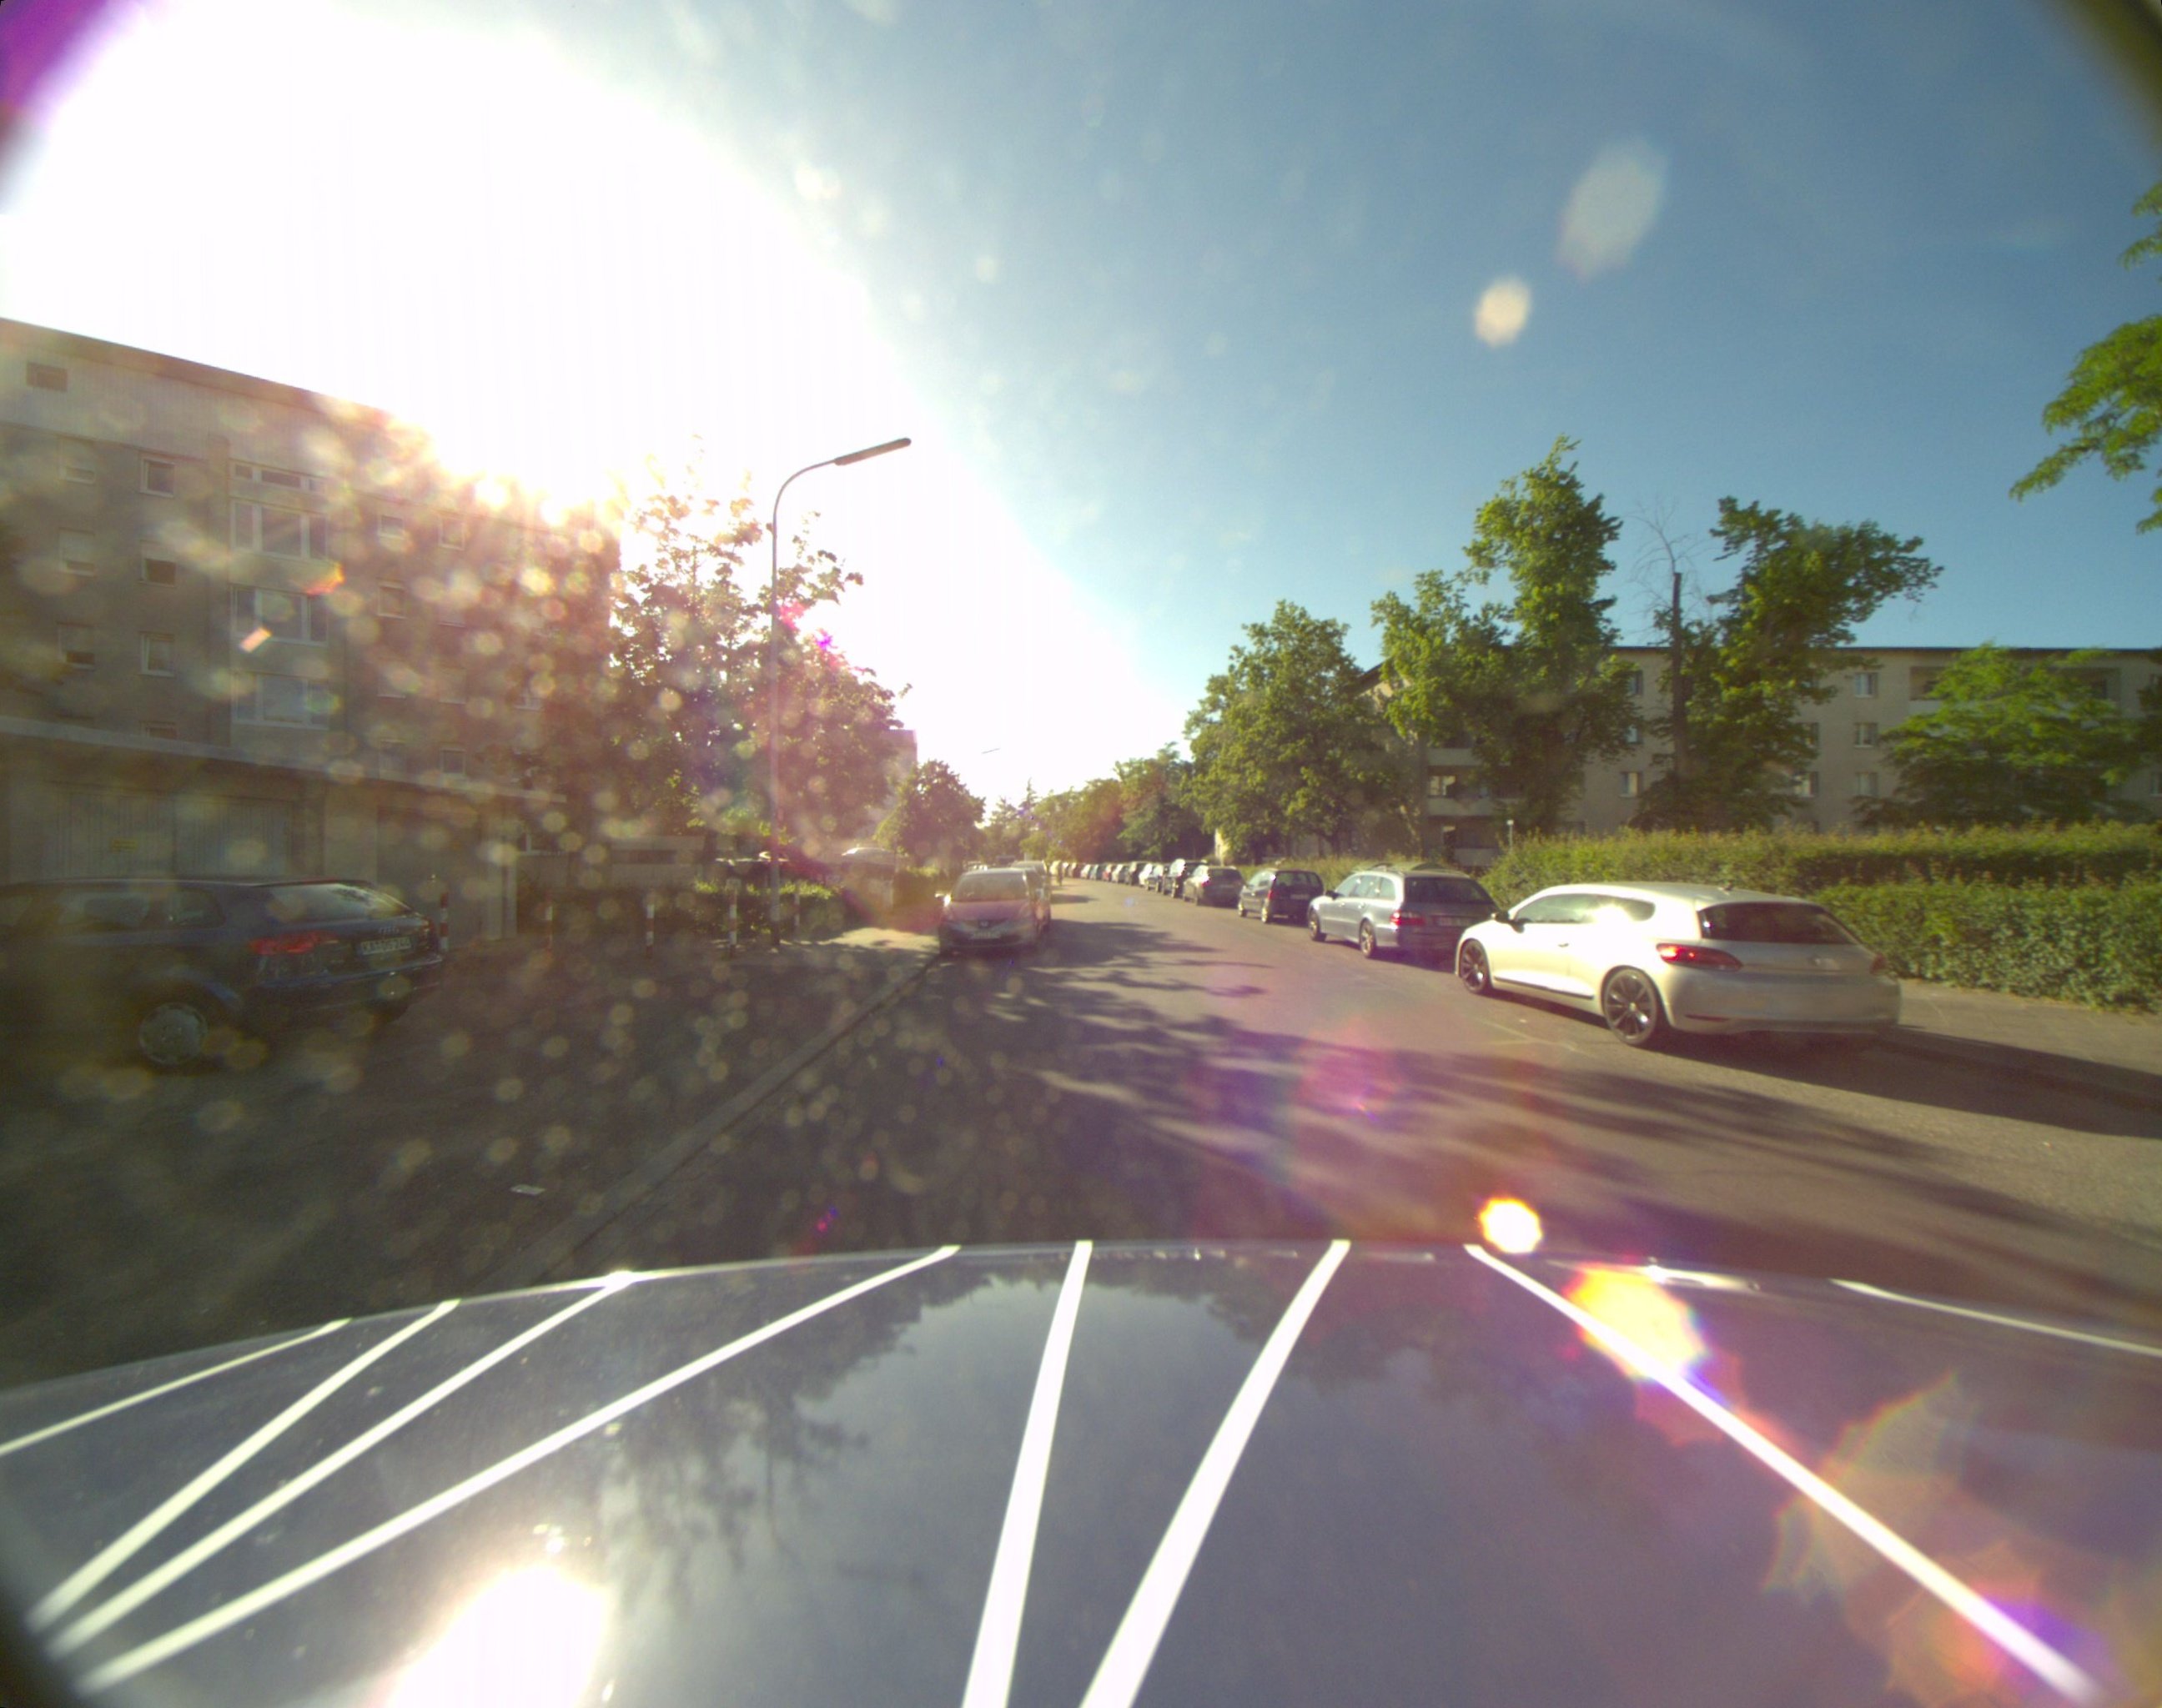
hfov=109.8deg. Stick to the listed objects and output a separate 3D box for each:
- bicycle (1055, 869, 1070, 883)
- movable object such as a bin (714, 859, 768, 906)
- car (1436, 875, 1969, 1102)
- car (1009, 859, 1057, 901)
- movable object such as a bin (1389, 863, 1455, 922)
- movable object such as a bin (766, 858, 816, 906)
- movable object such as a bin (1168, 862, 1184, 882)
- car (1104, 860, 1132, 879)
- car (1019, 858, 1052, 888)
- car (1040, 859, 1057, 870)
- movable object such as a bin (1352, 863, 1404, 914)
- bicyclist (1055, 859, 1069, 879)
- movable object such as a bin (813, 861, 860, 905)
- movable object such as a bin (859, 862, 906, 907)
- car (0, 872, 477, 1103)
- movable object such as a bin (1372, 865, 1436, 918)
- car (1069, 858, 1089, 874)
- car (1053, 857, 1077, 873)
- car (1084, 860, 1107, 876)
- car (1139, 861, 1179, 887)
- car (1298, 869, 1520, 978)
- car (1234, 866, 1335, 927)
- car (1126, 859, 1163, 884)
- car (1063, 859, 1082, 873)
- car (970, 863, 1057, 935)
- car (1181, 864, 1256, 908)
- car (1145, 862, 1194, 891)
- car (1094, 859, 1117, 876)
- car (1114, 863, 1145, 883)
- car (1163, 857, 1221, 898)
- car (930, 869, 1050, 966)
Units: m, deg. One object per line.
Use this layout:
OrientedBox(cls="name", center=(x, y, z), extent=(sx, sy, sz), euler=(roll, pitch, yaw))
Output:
OrientedBox(cls="bicycle", center=(-1.284, 1.496, 51.571), extent=(0.824, 0.896, 2.202), euler=(-1, 0, -6))
OrientedBox(cls="movable object such as a bin", center=(-11.067, 0.912, 24.789), extent=(1.326, 1.472, 1.029), euler=(-1, 0, -8))
OrientedBox(cls="car", center=(5.376, 1.009, 7.480), extent=(1.758, 1.416, 4.210), euler=(2, 0, 0))
OrientedBox(cls="car", center=(-1.953, 1.053, 32.132), extent=(1.759, 1.617, 4.495), euler=(-1, 0, -1))
OrientedBox(cls="movable object such as a bin", center=(8.827, 0.971, 19.735), extent=(1.004, 1.407, 1.326), euler=(-3, 0, -4))
OrientedBox(cls="movable object such as a bin", center=(-9.555, 0.900, 25.091), extent=(1.328, 1.528, 1.029), euler=(-1, 0, -8))
OrientedBox(cls="movable object such as a bin", center=(7.142, 1.333, 57.072), extent=(0.897, 1.407, 1.264), euler=(-3, 0, -6))
OrientedBox(cls="car", center=(3.058, 1.279, 63.439), extent=(1.636, 1.470, 3.877), euler=(1, 0, -7))
OrientedBox(cls="car", center=(-2.739, 1.068, 45.241), extent=(1.759, 1.664, 4.411), euler=(-1, 0, -5))
OrientedBox(cls="car", center=(-4.589, 1.459, 106.177), extent=(1.659, 1.558, 3.686), euler=(1, 0, -13))
OrientedBox(cls="movable object such as a bin", center=(8.728, 0.995, 22.400), extent=(0.897, 1.407, 1.326), euler=(-3, 0, -4))
OrientedBox(cls="bicyclist", center=(-1.304, 0.996, 51.702), extent=(0.813, 1.348, 1.090), euler=(-1, 0, -6))
OrientedBox(cls="movable object such as a bin", center=(-8.116, 0.941, 25.289), extent=(1.328, 1.422, 1.029), euler=(-1, 0, -8))
OrientedBox(cls="movable object such as a bin", center=(-6.634, 1.015, 25.459), extent=(1.329, 1.419, 1.069), euler=(2, 0, -8))
OrientedBox(cls="car", center=(-7.638, 0.936, 5.974), extent=(4.195, 1.486, 1.817), euler=(-1, 0, -5))
OrientedBox(cls="movable object such as a bin", center=(8.926, 1.024, 21.073), extent=(1.122, 1.358, 1.257), euler=(-3, 0, -4))
OrientedBox(cls="car", center=(-0.236, 1.304, 82.580), extent=(1.659, 1.621, 4.069), euler=(1, 0, -8))
OrientedBox(cls="car", center=(-2.011, 1.337, 94.404), extent=(1.886, 1.857, 5.433), euler=(1, 0, -12))
OrientedBox(cls="car", center=(1.429, 1.371, 75.542), extent=(1.659, 1.470, 3.732), euler=(1, 0, -9))
OrientedBox(cls="car", center=(4.594, 1.168, 45.468), extent=(1.759, 1.428, 4.150), euler=(1, 0, -3))
OrientedBox(cls="car", center=(5.429, 1.052, 13.405), extent=(1.758, 1.481, 4.901), euler=(2, -1, 0))
OrientedBox(cls="car", center=(5.446, 1.098, 20.775), extent=(1.653, 1.455, 3.495), euler=(1, 0, -3))
OrientedBox(cls="car", center=(4.227, 1.149, 51.491), extent=(1.811, 1.596, 4.431), euler=(1, 0, -4))
OrientedBox(cls="car", center=(-1.046, 1.355, 88.572), extent=(1.659, 1.621, 3.687), euler=(1, 0, -10))
OrientedBox(cls="car", center=(-1.573, 1.034, 19.270), extent=(1.835, 1.537, 4.640), euler=(-1, 0, -1))
OrientedBox(cls="car", center=(5.043, 1.136, 28.520), extent=(1.759, 1.377, 4.673), euler=(1, 0, -3))
OrientedBox(cls="car", center=(4.495, 1.126, 39.201), extent=(1.643, 1.377, 4.169), euler=(1, 0, -6))
OrientedBox(cls="car", center=(2.232, 1.242, 70.594), extent=(1.658, 1.470, 3.104), euler=(1, 0, -7))
OrientedBox(cls="car", center=(3.663, 1.420, 58.266), extent=(1.812, 1.470, 3.939), euler=(1, 0, -5))
OrientedBox(cls="car", center=(4.854, 0.996, 33.790), extent=(1.759, 1.658, 4.389), euler=(1, 0, -3))
OrientedBox(cls="car", center=(-1.553, 1.063, 14.232), extent=(1.809, 1.486, 3.795), euler=(-1, 0, -1))
